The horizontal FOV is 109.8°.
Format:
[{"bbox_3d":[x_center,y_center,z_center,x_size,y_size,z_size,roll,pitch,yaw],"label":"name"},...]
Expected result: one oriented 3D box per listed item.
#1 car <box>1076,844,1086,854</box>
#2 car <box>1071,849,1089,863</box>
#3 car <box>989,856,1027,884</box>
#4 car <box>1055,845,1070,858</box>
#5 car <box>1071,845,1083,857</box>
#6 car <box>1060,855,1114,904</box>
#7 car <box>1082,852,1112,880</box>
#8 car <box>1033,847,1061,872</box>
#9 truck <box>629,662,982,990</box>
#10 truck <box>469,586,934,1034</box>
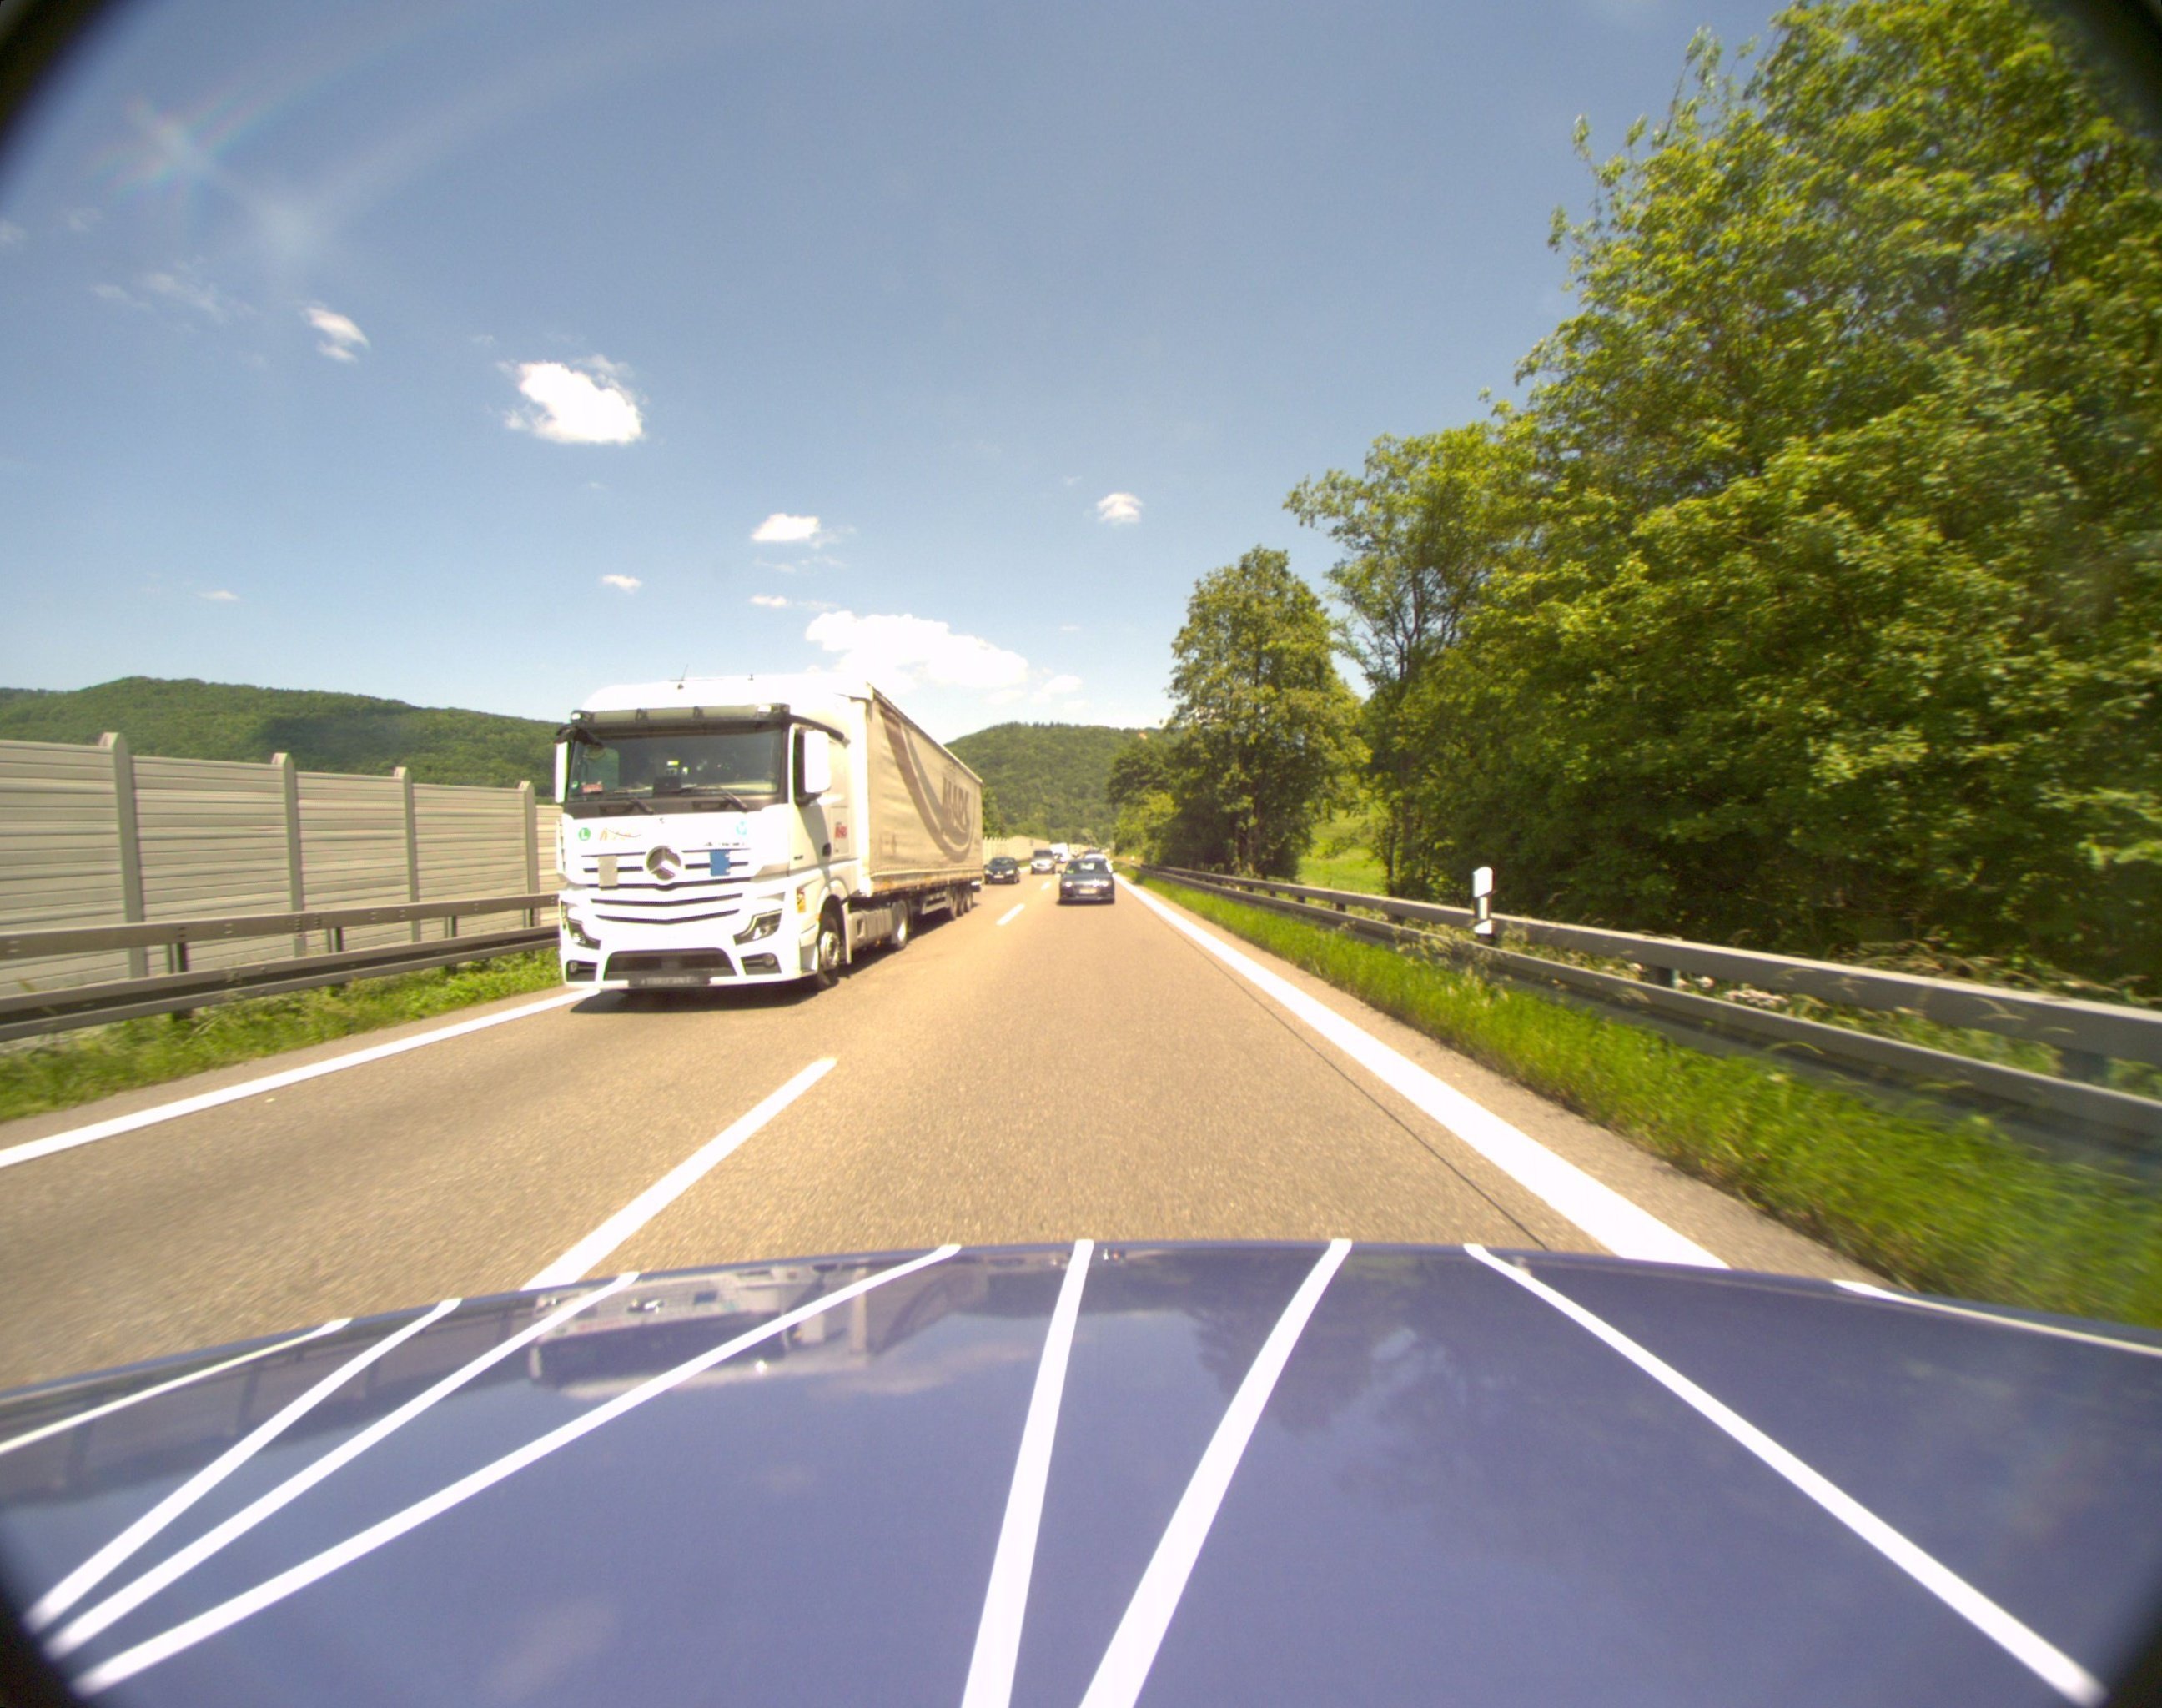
[{"bbox_3d":[-0.053,-1.130,173.677,1.998,2.002,3.999,5,1,1],"label":"car"},{"bbox_3d":[-0.188,0.283,95.754,1.801,1.508,3.718,5,1,-6],"label":"car"},{"bbox_3d":[-3.904,0.831,40.916,1.662,1.405,3.474,1,1,1],"label":"car"},{"bbox_3d":[-2.867,-0.318,117.082,1.998,1.892,4.000,2,0,1],"label":"car"},{"bbox_3d":[-0.678,-0.594,141.910,1.998,2.002,3.999,5,1,1],"label":"car"},{"bbox_3d":[0.217,0.799,25.574,1.662,1.436,3.474,-1,1,1],"label":"car"},{"bbox_3d":[0.917,0.686,46.022,1.715,1.541,3.999,1,1,0],"label":"car"},{"bbox_3d":[-2.601,0.439,59.442,2.044,1.854,4.000,0,-1,-1],"label":"car"},{"bbox_3d":[-4.313,-0.381,15.795,2.862,4.123,12.045,-2,0,0],"label":"truck"},{"bbox_3d":[-4.270,-0.463,10.591,2.764,4.016,6.822,5,1,0],"label":"truck"}]
